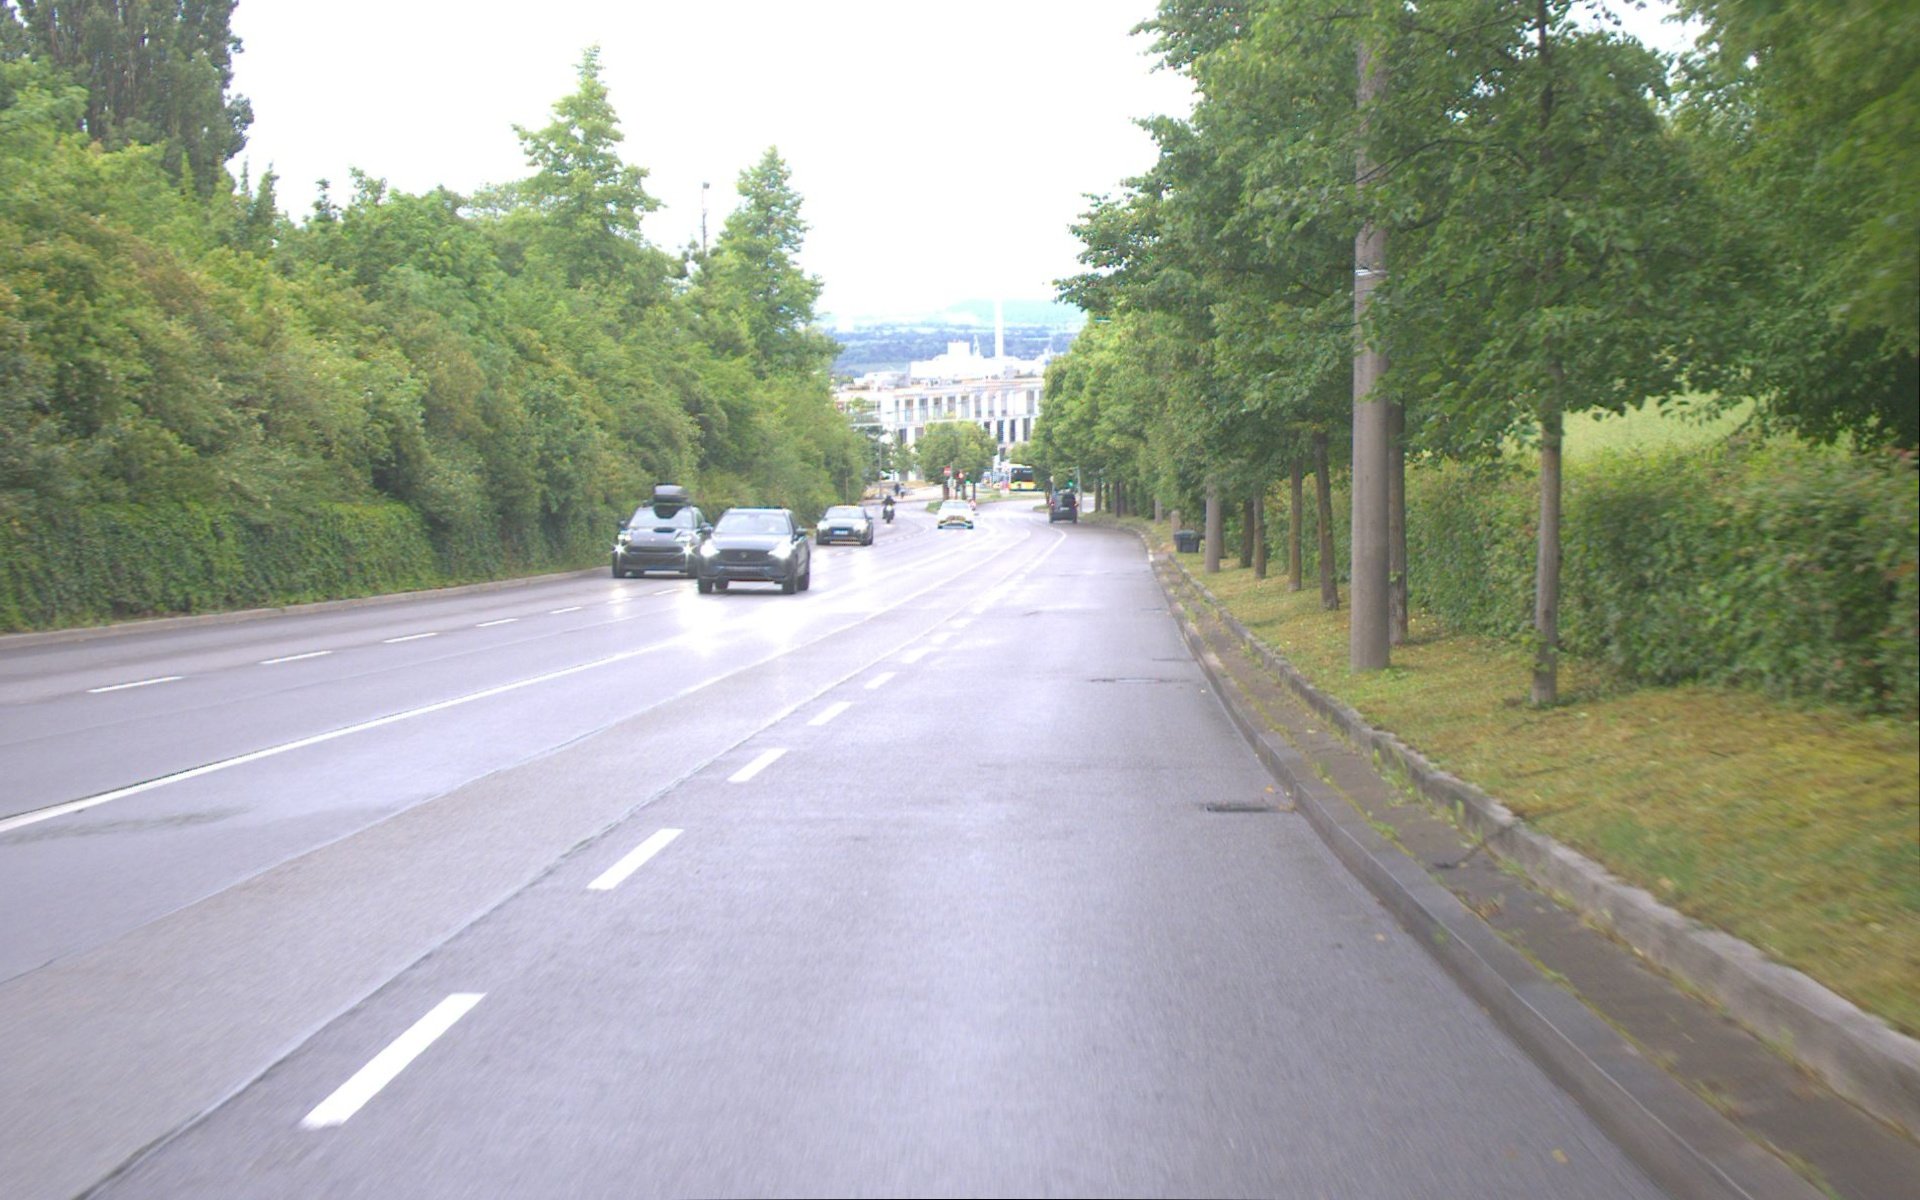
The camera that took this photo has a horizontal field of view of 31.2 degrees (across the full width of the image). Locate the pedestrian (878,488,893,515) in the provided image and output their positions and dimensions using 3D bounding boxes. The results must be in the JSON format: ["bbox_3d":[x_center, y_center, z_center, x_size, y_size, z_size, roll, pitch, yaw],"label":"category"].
[{"bbox_3d":[-4.405,-5.814,203.034,0.805,1.536,1.111,1,2,3],"label":"pedestrian"}]

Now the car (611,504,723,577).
[{"bbox_3d":[-6.627,-1.370,78.216,1.899,1.547,4.630,2,1,3],"label":"car"}]

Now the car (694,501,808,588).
[{"bbox_3d":[-4.118,-1.125,68.332,1.812,1.652,4.595,1,1,2],"label":"car"}]

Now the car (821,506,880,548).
[{"bbox_3d":[-3.933,-2.659,124.146,1.760,1.376,4.838,2,2,3],"label":"car"}]

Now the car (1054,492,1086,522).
[{"bbox_3d":[6.656,-5.621,207.478,1.849,1.696,3.793,2,1,3],"label":"car"}]

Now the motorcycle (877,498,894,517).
[{"bbox_3d":[-4.410,-5.474,203.025,0.805,1.127,2.231,1,2,3],"label":"motorcycle"}]

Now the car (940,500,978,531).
[{"bbox_3d":[-0.050,-4.384,177.635,1.715,1.499,4.516,2,2,3],"label":"car"}]
